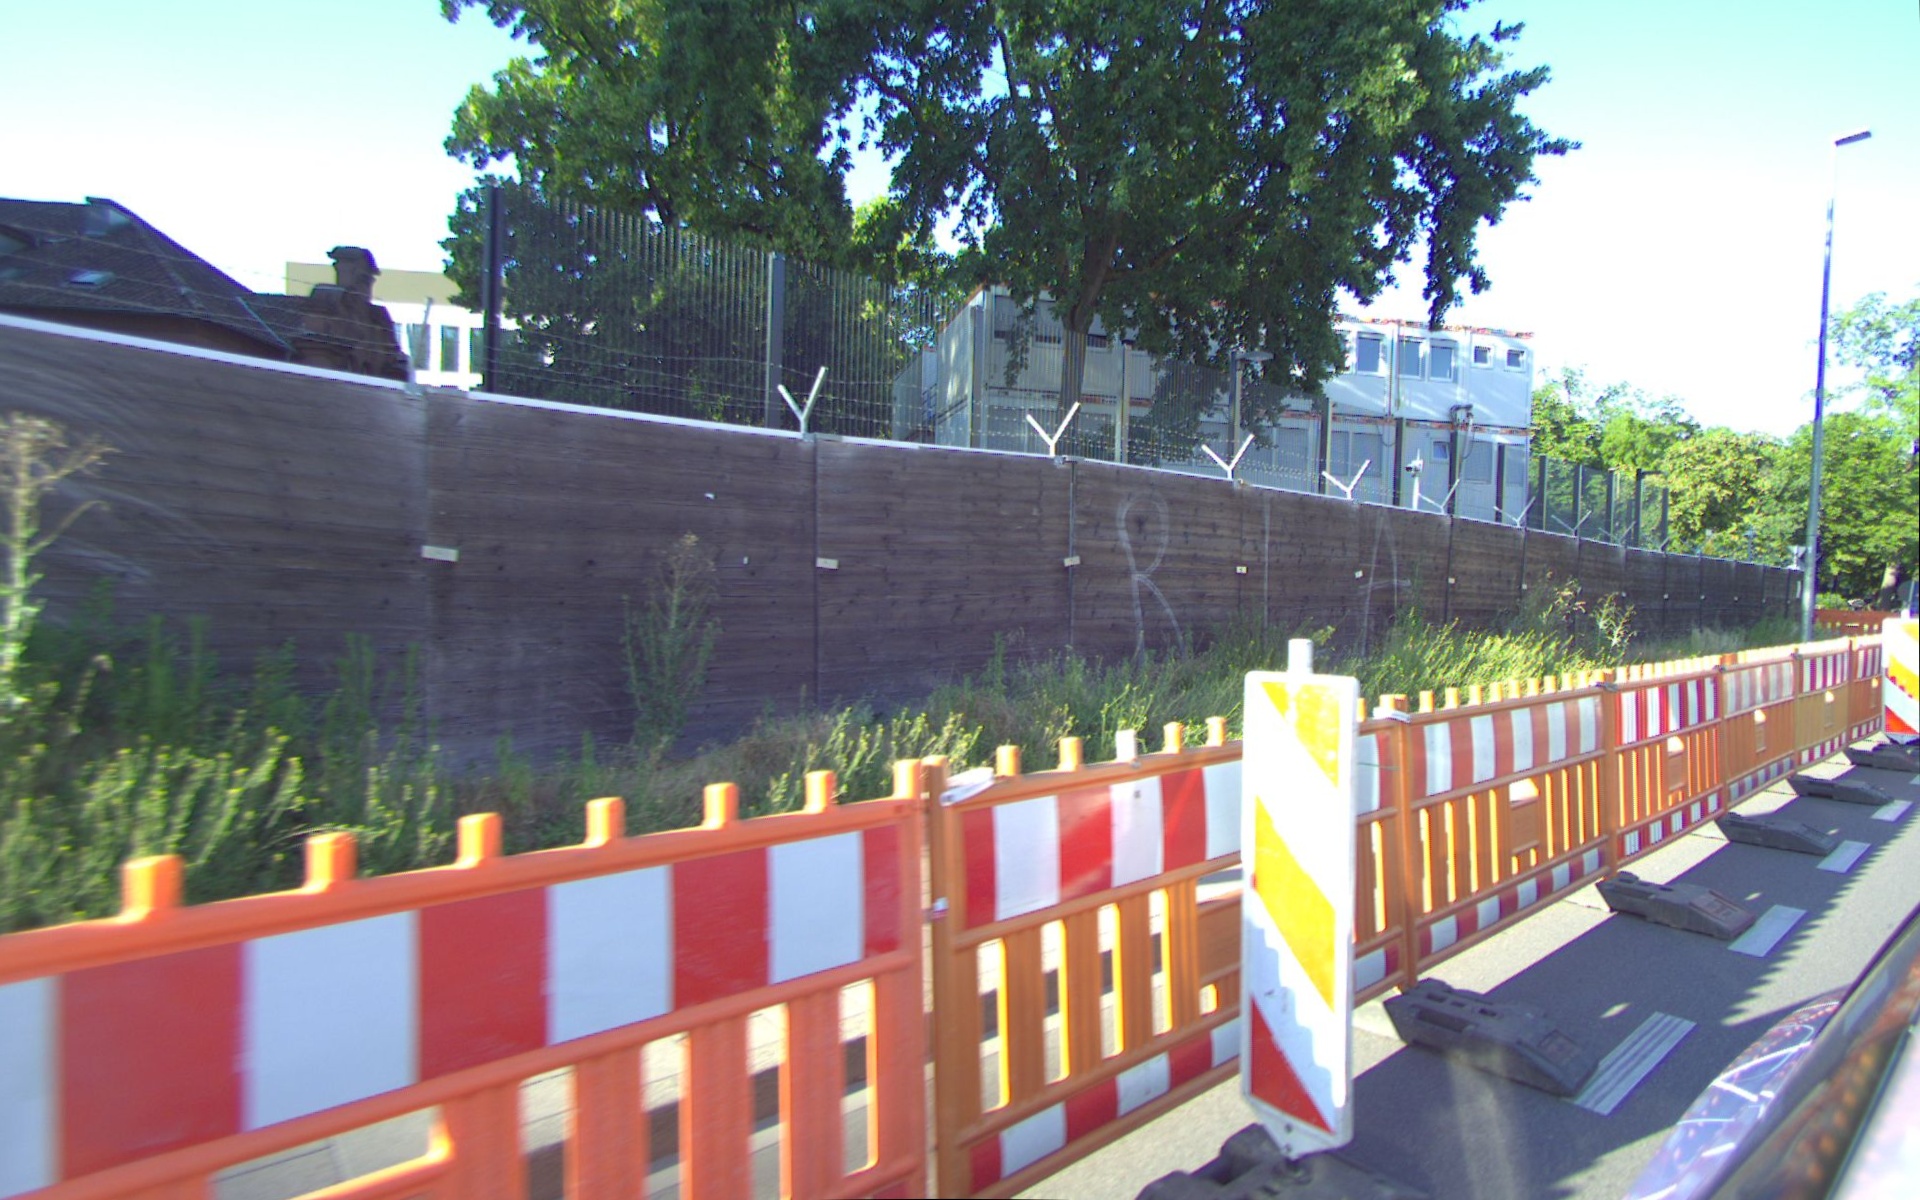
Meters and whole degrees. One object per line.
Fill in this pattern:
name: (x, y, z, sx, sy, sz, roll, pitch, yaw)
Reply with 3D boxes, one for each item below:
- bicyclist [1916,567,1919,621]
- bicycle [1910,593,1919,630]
bicyclist: (29.425, -0.178, 30.627, 0.887, 1.634, 0.585, 0, 2, -40)
bicycle: (29.250, 0.344, 30.644, 1.877, 1.074, 0.429, 0, 2, -39)
